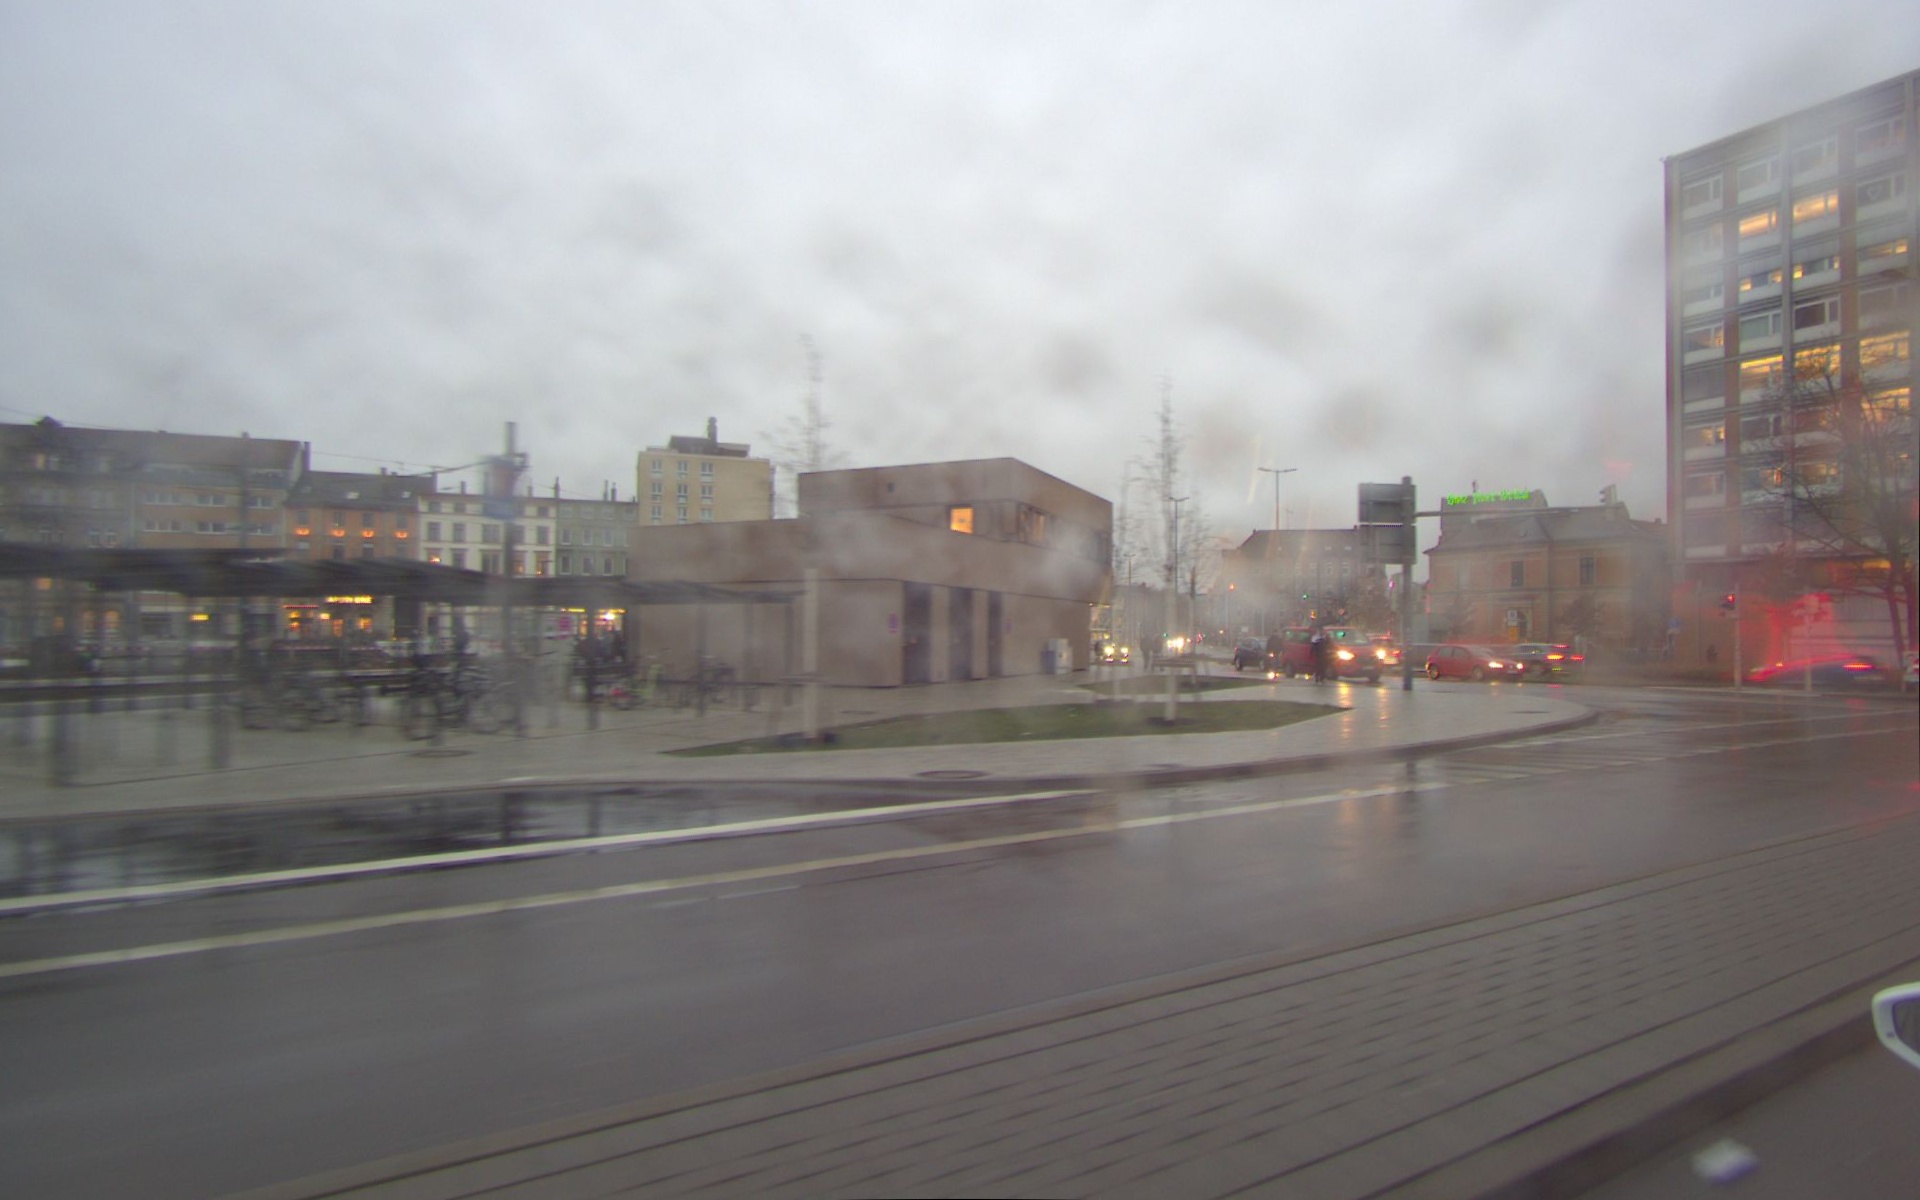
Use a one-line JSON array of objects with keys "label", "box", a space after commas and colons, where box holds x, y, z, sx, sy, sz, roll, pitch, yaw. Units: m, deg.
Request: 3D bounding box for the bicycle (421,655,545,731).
[{"label": "bicycle", "box": [-8.046, 1.545, 17.032, 0.540, 1.180, 1.895, 2, -1, 30]}]

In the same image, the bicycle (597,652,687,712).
[{"label": "bicycle", "box": [-6.651, 1.698, 21.094, 0.540, 1.180, 1.895, 2, -1, 30]}]

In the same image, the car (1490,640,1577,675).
[{"label": "car", "box": [28.592, 2.854, 50.178, 1.445, 1.505, 3.917, 3, -1, -14]}]

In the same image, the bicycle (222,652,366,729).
[{"label": "bicycle", "box": [-10.973, 1.461, 16.618, 0.540, 1.180, 1.895, 2, -1, 30]}]

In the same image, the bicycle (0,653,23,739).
[{"label": "bicycle", "box": [-13.987, 1.315, 13.524, 0.540, 1.180, 1.895, 2, -1, 30]}]

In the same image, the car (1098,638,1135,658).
[{"label": "car", "box": [13.079, 4.007, 83.986, 1.579, 1.466, 3.635, 3, -1, -17]}]

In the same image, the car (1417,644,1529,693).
[{"label": "car", "box": [20.863, 2.747, 41.011, 1.732, 1.706, 4.069, 3, -1, -17]}]

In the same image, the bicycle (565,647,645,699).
[{"label": "bicycle", "box": [-8.577, 1.740, 24.330, 0.540, 1.180, 1.895, 2, -1, 30]}]

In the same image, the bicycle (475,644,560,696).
[{"label": "bicycle", "box": [-10.649, 1.669, 24.241, 0.540, 1.180, 1.895, 2, -1, 30]}]

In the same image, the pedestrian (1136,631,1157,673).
[{"label": "pedestrian", "box": [8.429, 2.339, 45.409, 0.670, 1.839, 0.692, 3, -1, -16]}]

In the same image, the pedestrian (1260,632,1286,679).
[{"label": "pedestrian", "box": [11.742, 2.065, 37.690, 0.781, 1.719, 0.461, 3, -1, -7]}]

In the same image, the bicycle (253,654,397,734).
[{"label": "bicycle", "box": [-10.236, 1.486, 16.269, 0.540, 1.180, 1.895, 2, -1, 30]}]

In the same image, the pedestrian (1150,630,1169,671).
[{"label": "pedestrian", "box": [9.038, 2.289, 45.597, 0.576, 1.795, 0.610, 3, -1, -16]}]

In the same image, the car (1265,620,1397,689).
[{"label": "car", "box": [13.818, 1.984, 37.790, 2.220, 2.311, 5.025, 3, -1, -13]}]

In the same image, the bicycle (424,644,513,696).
[{"label": "bicycle", "box": [-11.846, 1.670, 24.273, 0.540, 1.180, 1.895, 2, -1, 30]}]

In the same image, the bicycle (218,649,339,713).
[{"label": "bicycle", "box": [-13.457, 1.570, 19.900, 0.540, 1.180, 1.895, 2, -1, 30]}]

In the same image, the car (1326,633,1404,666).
[{"label": "car", "box": [25.798, 3.124, 64.201, 1.966, 1.938, 5.157, 1, -1, -14]}]

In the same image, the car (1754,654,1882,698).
[{"label": "car", "box": [32.072, 2.805, 37.654, 1.445, 1.416, 3.412, 3, -1, -14]}]

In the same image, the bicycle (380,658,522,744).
[{"label": "bicycle", "box": [-7.697, 1.500, 15.296, 0.540, 1.180, 1.895, 2, -1, 30]}]

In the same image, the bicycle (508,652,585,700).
[{"label": "bicycle", "box": [-10.754, 1.956, 26.189, 0.540, 1.180, 1.895, 2, -1, 30]}]

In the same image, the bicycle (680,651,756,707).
[{"label": "bicycle", "box": [-5.412, 1.749, 22.571, 0.540, 1.180, 1.897, 2, -1, 25]}]
